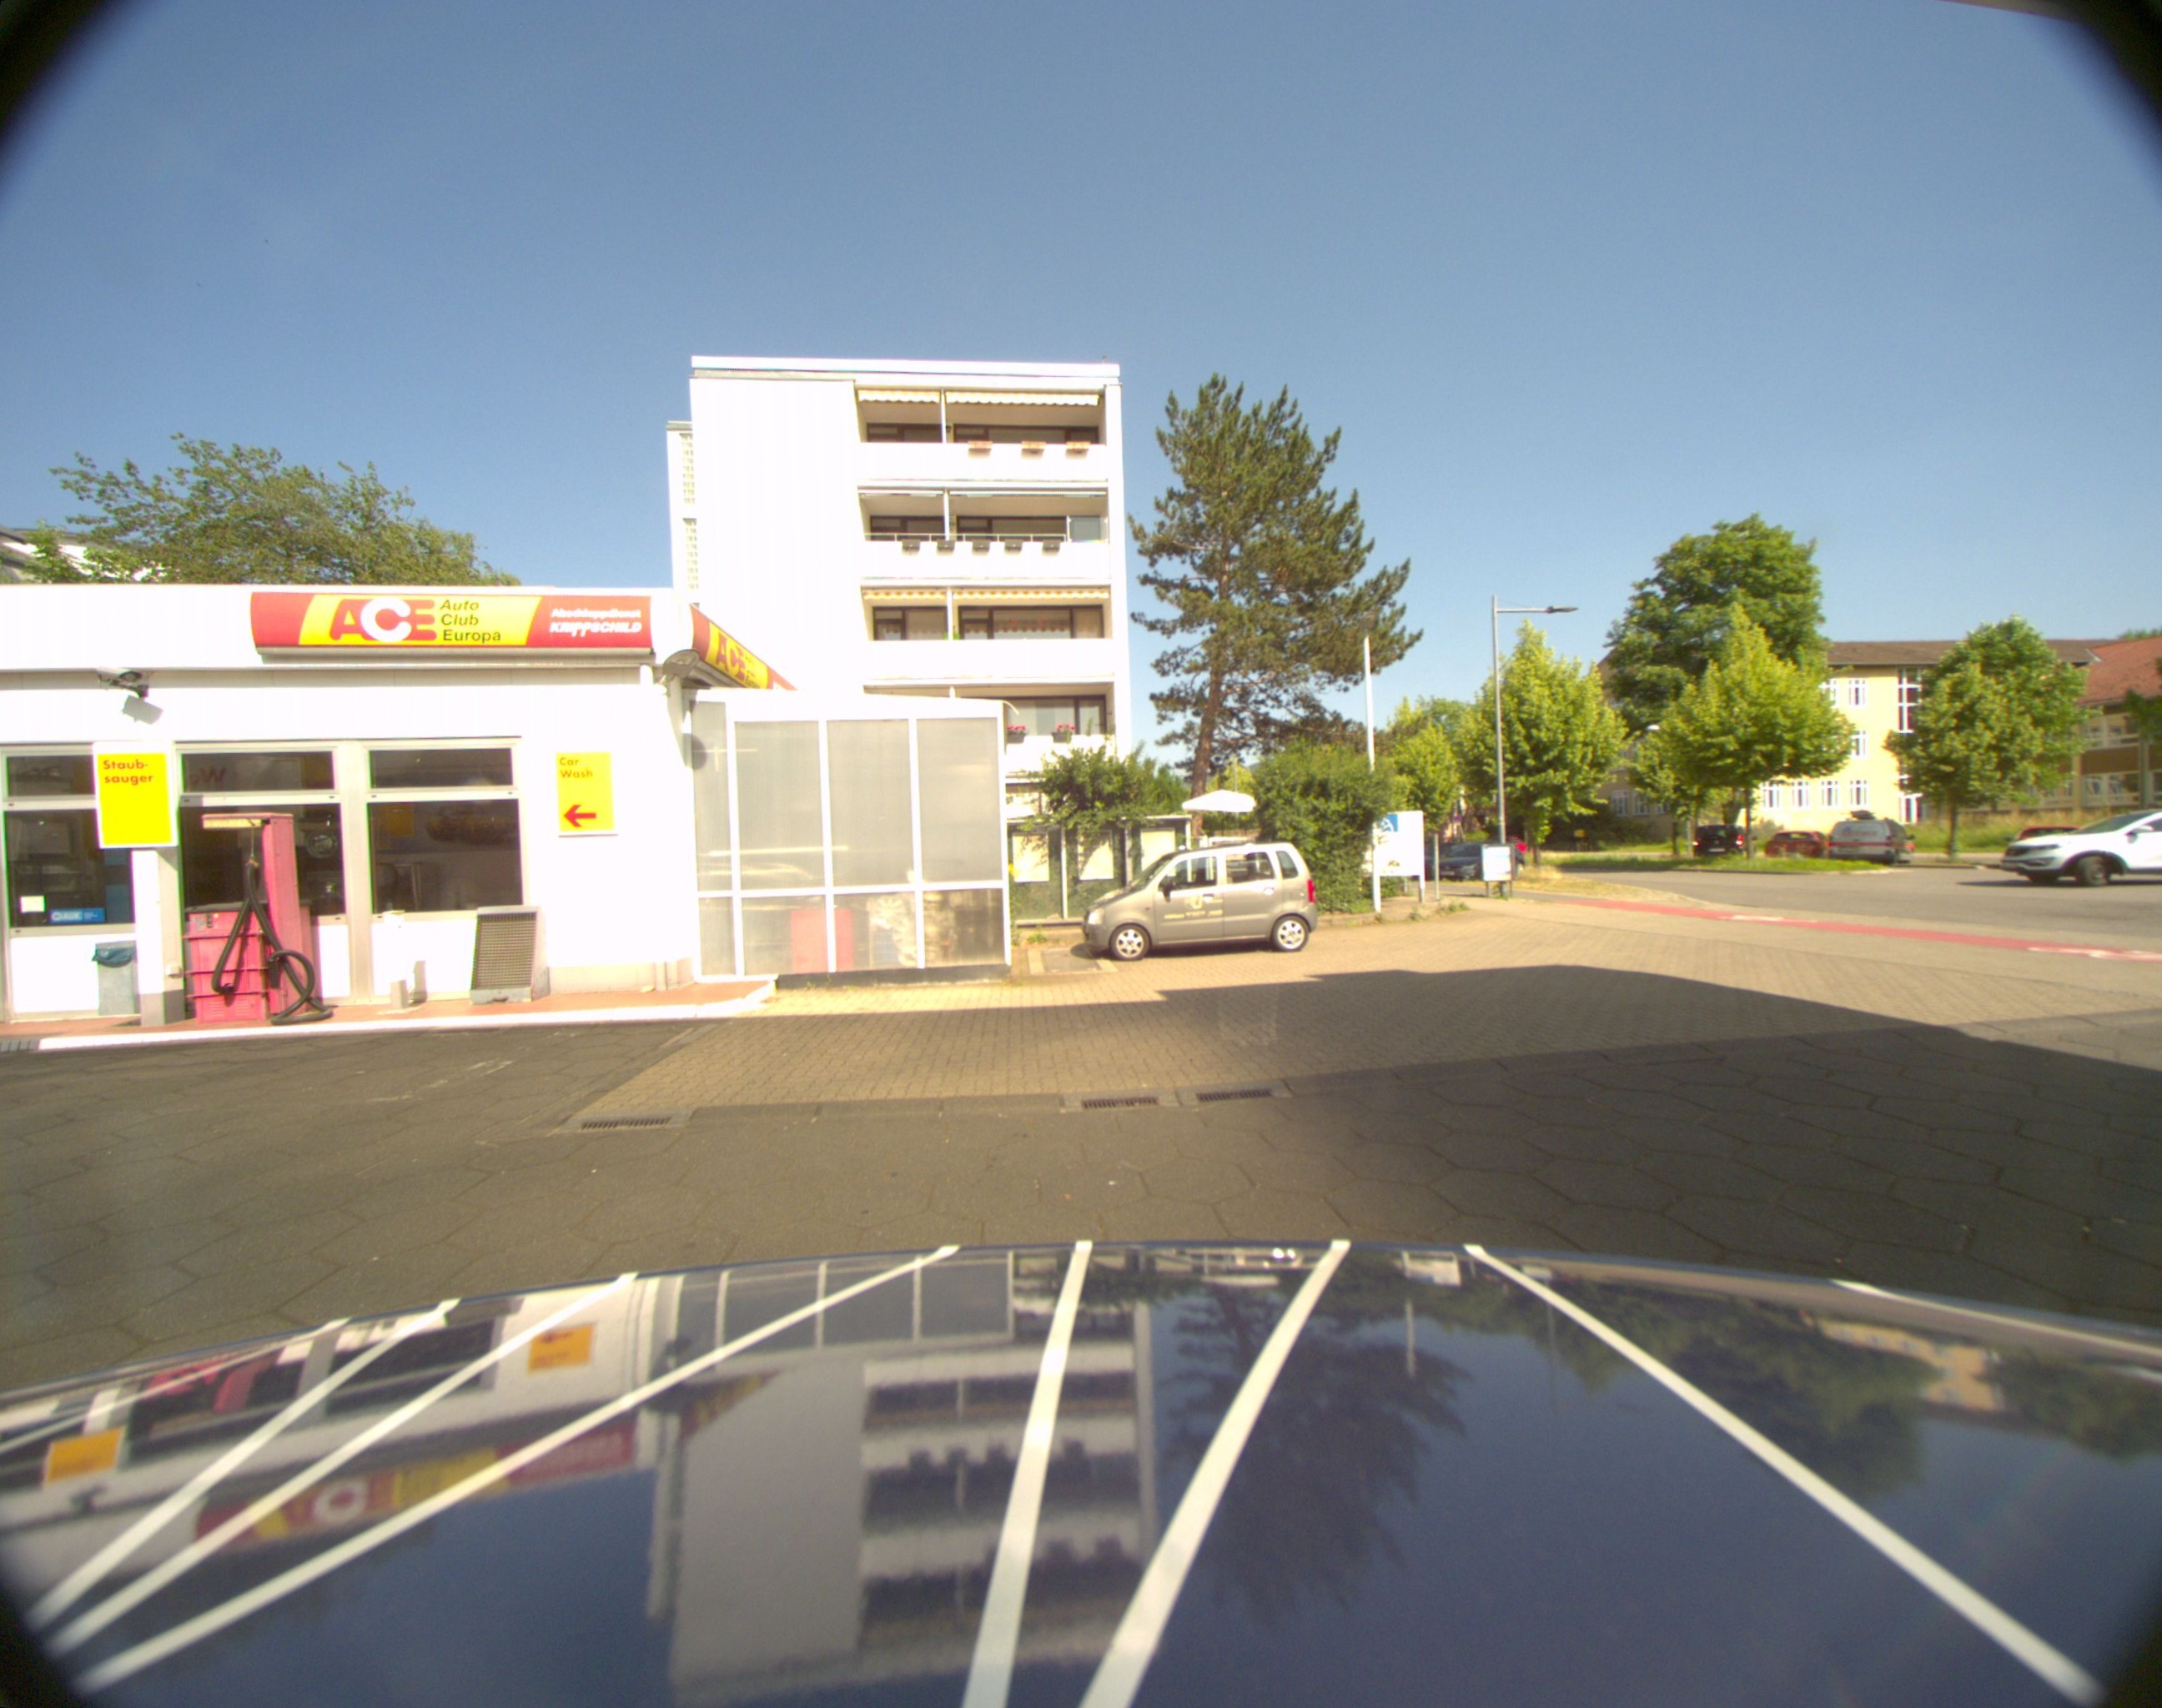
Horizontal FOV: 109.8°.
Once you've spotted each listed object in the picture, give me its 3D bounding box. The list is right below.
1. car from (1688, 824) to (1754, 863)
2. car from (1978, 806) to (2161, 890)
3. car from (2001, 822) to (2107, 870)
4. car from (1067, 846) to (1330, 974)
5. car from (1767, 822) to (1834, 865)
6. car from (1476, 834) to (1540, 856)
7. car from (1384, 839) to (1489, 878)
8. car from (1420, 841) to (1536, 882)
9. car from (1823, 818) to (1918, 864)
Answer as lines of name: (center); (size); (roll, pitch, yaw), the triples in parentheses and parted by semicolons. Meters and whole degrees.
car: (29.735, -0.491, 35.253); (4.234, 1.712, 1.876); (-1, 2, -44)
car: (23.641, -0.174, 16.870); (4.379, 1.759, 2.003); (-2, 1, 30)
car: (31.842, -0.295, 24.977); (4.234, 1.451, 1.876); (-1, 2, -41)
car: (1.682, 0.781, 11.716); (3.660, 1.608, 1.691); (-3, 1, -3)
car: (30.840, -0.441, 32.529); (4.234, 1.712, 1.876); (-1, 2, -44)
car: (28.950, -0.619, 51.529); (3.731, 1.383, 1.877); (0, 1, -24)
car: (14.443, 0.144, 30.840); (4.233, 1.473, 1.876); (-1, 1, -32)
car: (14.627, 0.231, 27.935); (4.233, 1.409, 1.876); (-1, 1, -32)
car: (31.025, -0.522, 29.837); (4.233, 1.713, 1.876); (-1, 2, -34)
